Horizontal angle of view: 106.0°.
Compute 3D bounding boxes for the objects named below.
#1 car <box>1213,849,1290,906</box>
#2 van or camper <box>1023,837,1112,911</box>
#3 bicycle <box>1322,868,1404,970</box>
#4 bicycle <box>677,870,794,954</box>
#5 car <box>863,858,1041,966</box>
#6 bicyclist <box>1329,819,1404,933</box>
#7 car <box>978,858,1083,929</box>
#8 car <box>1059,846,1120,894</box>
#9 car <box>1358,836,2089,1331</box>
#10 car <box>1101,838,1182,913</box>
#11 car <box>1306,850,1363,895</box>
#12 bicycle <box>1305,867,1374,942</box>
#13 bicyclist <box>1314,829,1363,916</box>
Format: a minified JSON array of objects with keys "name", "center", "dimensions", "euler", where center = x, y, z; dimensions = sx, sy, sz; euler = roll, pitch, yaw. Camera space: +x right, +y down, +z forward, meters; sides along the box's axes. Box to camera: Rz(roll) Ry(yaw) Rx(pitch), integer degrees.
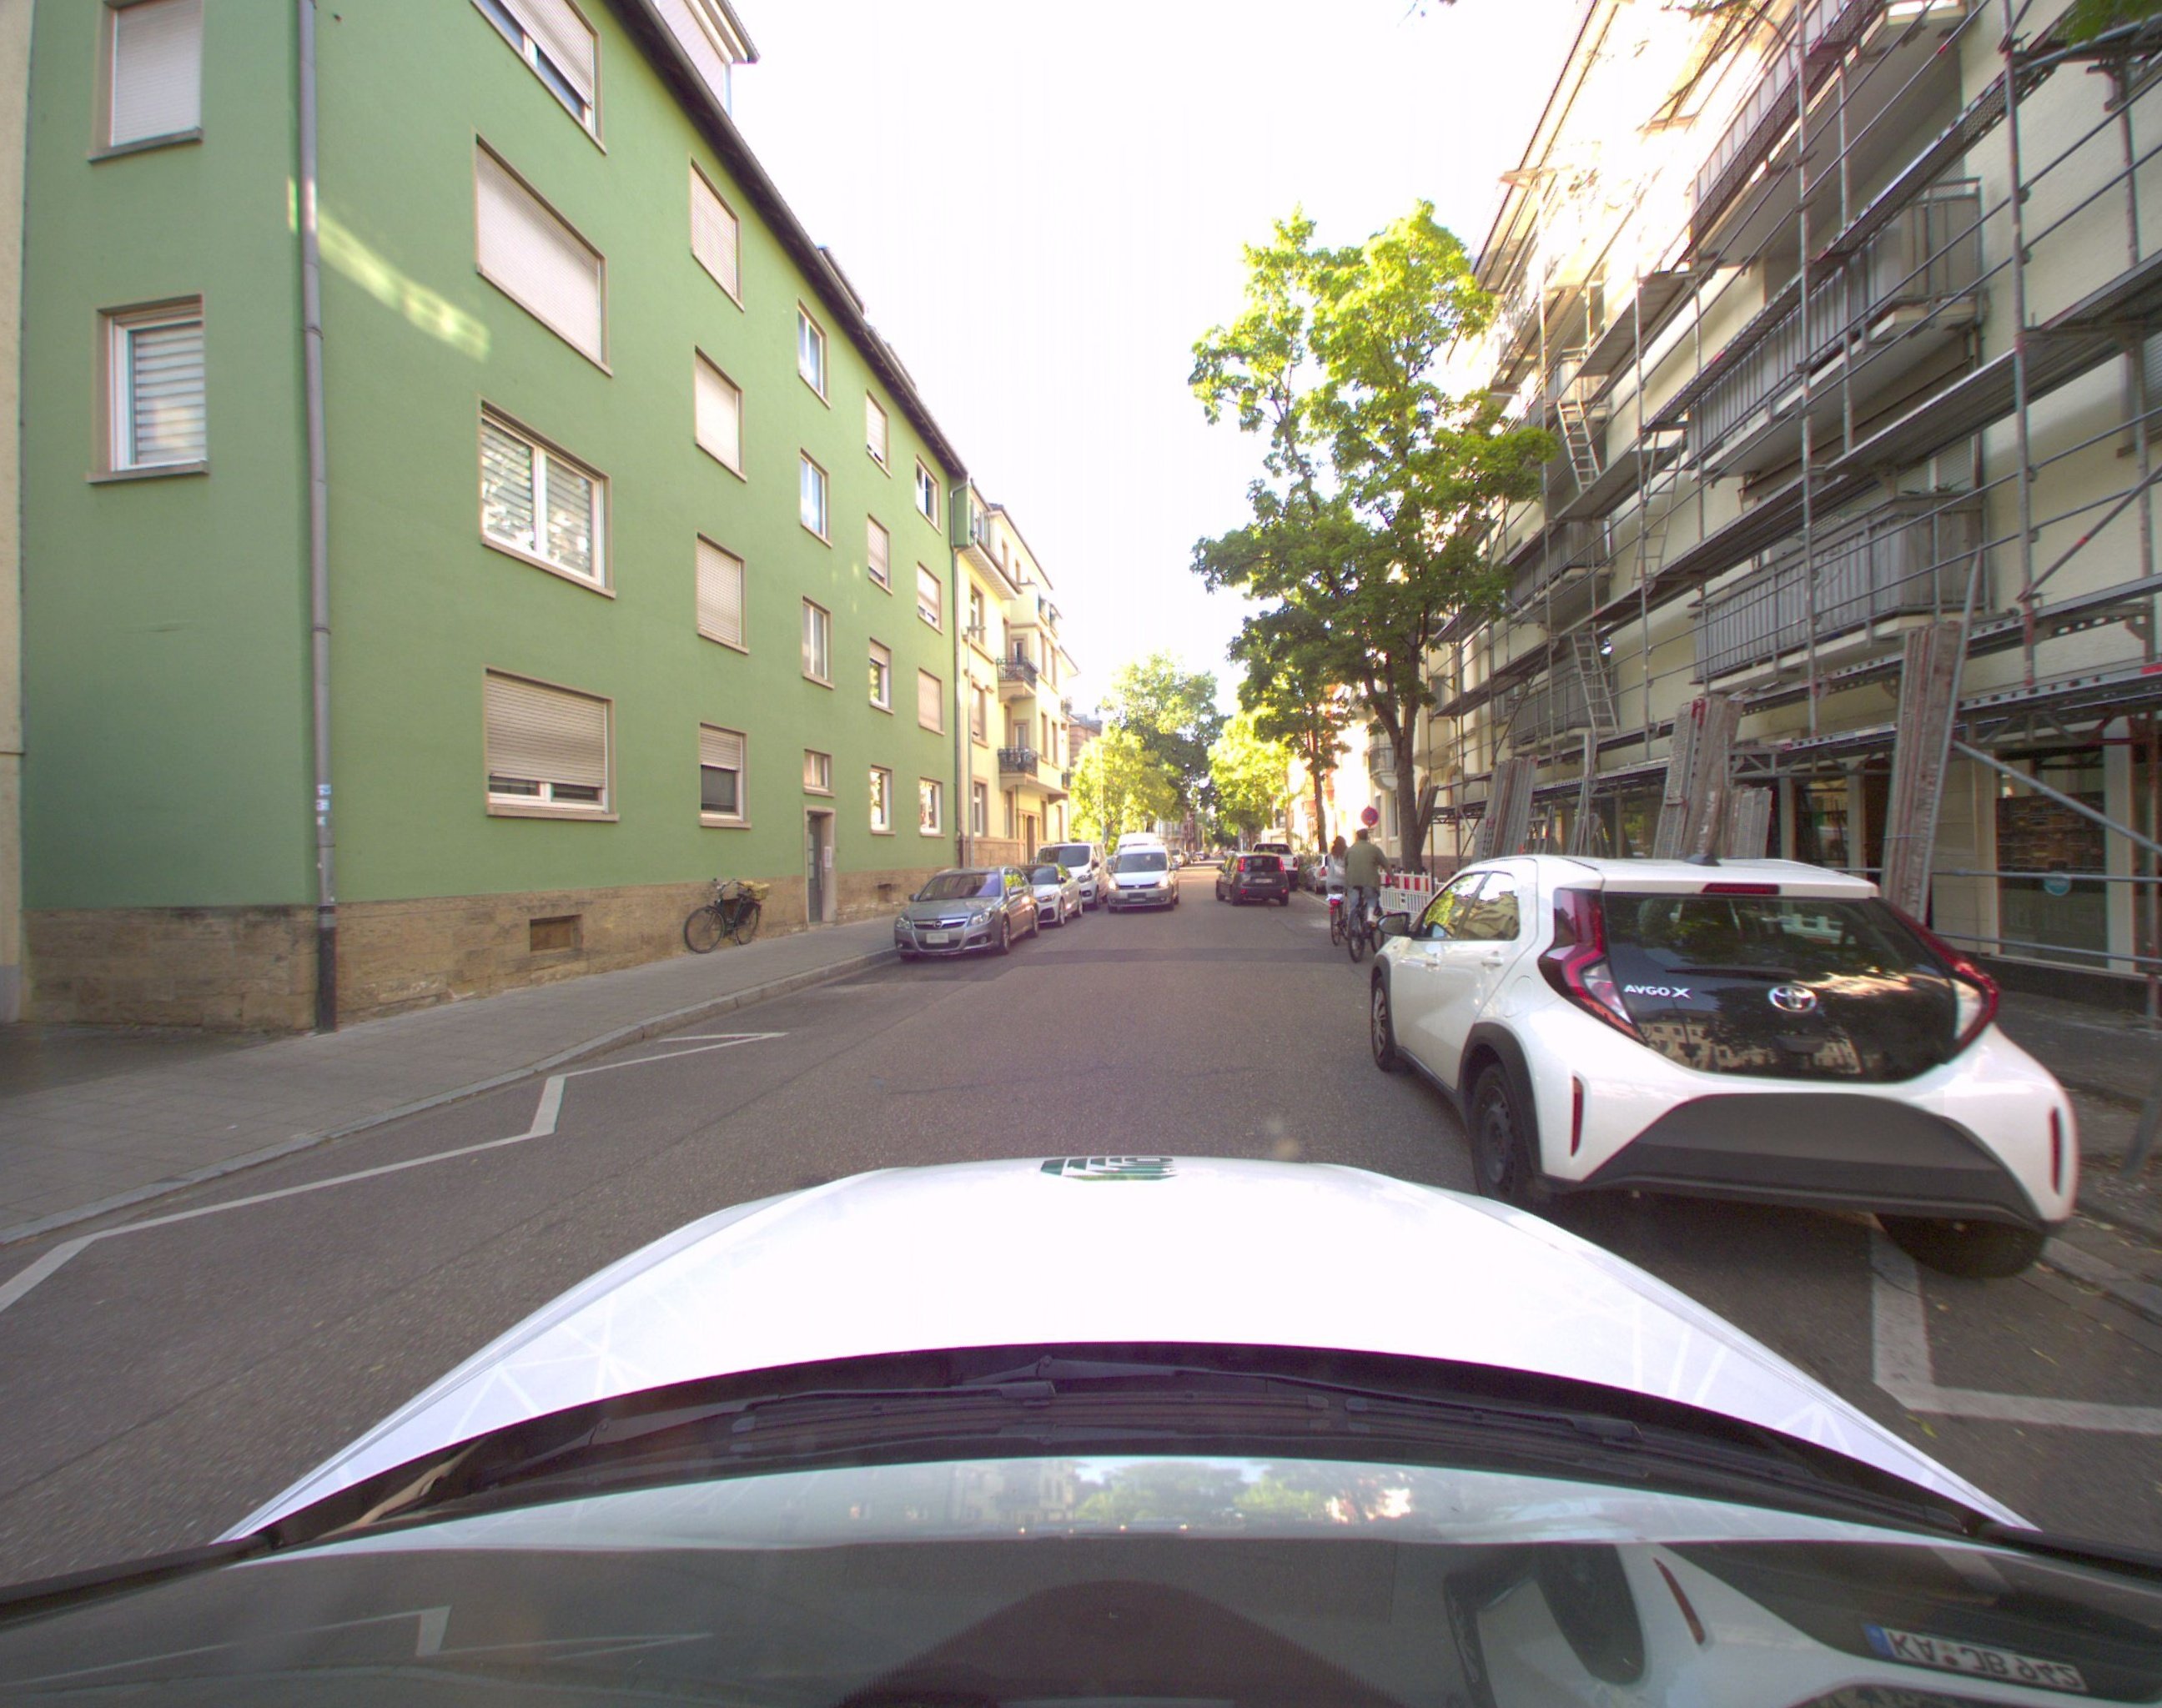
[{"name":"car","center":[4.970,0.633,24.153],"dimensions":[1.551,1.533,3.486],"euler":[1,0,0]},{"name":"van or camper","center":[-0.293,0.548,25.101],"dimensions":[1.982,2.013,4.922],"euler":[-2,0,8]},{"name":"bicycle","center":[4.061,0.848,11.612],"dimensions":[0.832,1.149,2.246],"euler":[4,3,24]},{"name":"bicycle","center":[-5.548,0.886,13.260],"dimensions":[0.547,1.178,2.285],"euler":[2,1,10]},{"name":"car","center":[-2.060,0.894,14.331],"dimensions":[1.969,1.455,4.121],"euler":[-5,0,6]},{"name":"bicyclist","center":[4.120,0.329,11.735],"dimensions":[0.873,1.562,0.873],"euler":[-3,-4,26]},{"name":"car","center":[-1.089,0.868,19.339],"dimensions":[1.677,1.453,3.719],"euler":[-2,0,9]},{"name":"car","center":[0.384,0.563,30.886],"dimensions":[1.700,1.684,4.011],"euler":[-1,0,9]},{"name":"car","center":[2.637,0.714,4.373],"dimensions":[1.664,1.545,3.413],"euler":[1,0,10]},{"name":"car","center":[1.825,0.560,23.167],"dimensions":[1.771,1.861,4.211],"euler":[-2,0,10]},{"name":"car","center":[8.886,0.612,28.734],"dimensions":[1.547,1.409,3.391],"euler":[2,1,11]},{"name":"bicycle","center":[4.360,0.837,13.638],"dimensions":[0.831,1.149,2.244],"euler":[-2,-3,24]},{"name":"bicyclist","center":[4.275,0.327,13.497],"dimensions":[0.617,1.381,0.872],"euler":[-3,-5,24]}]
